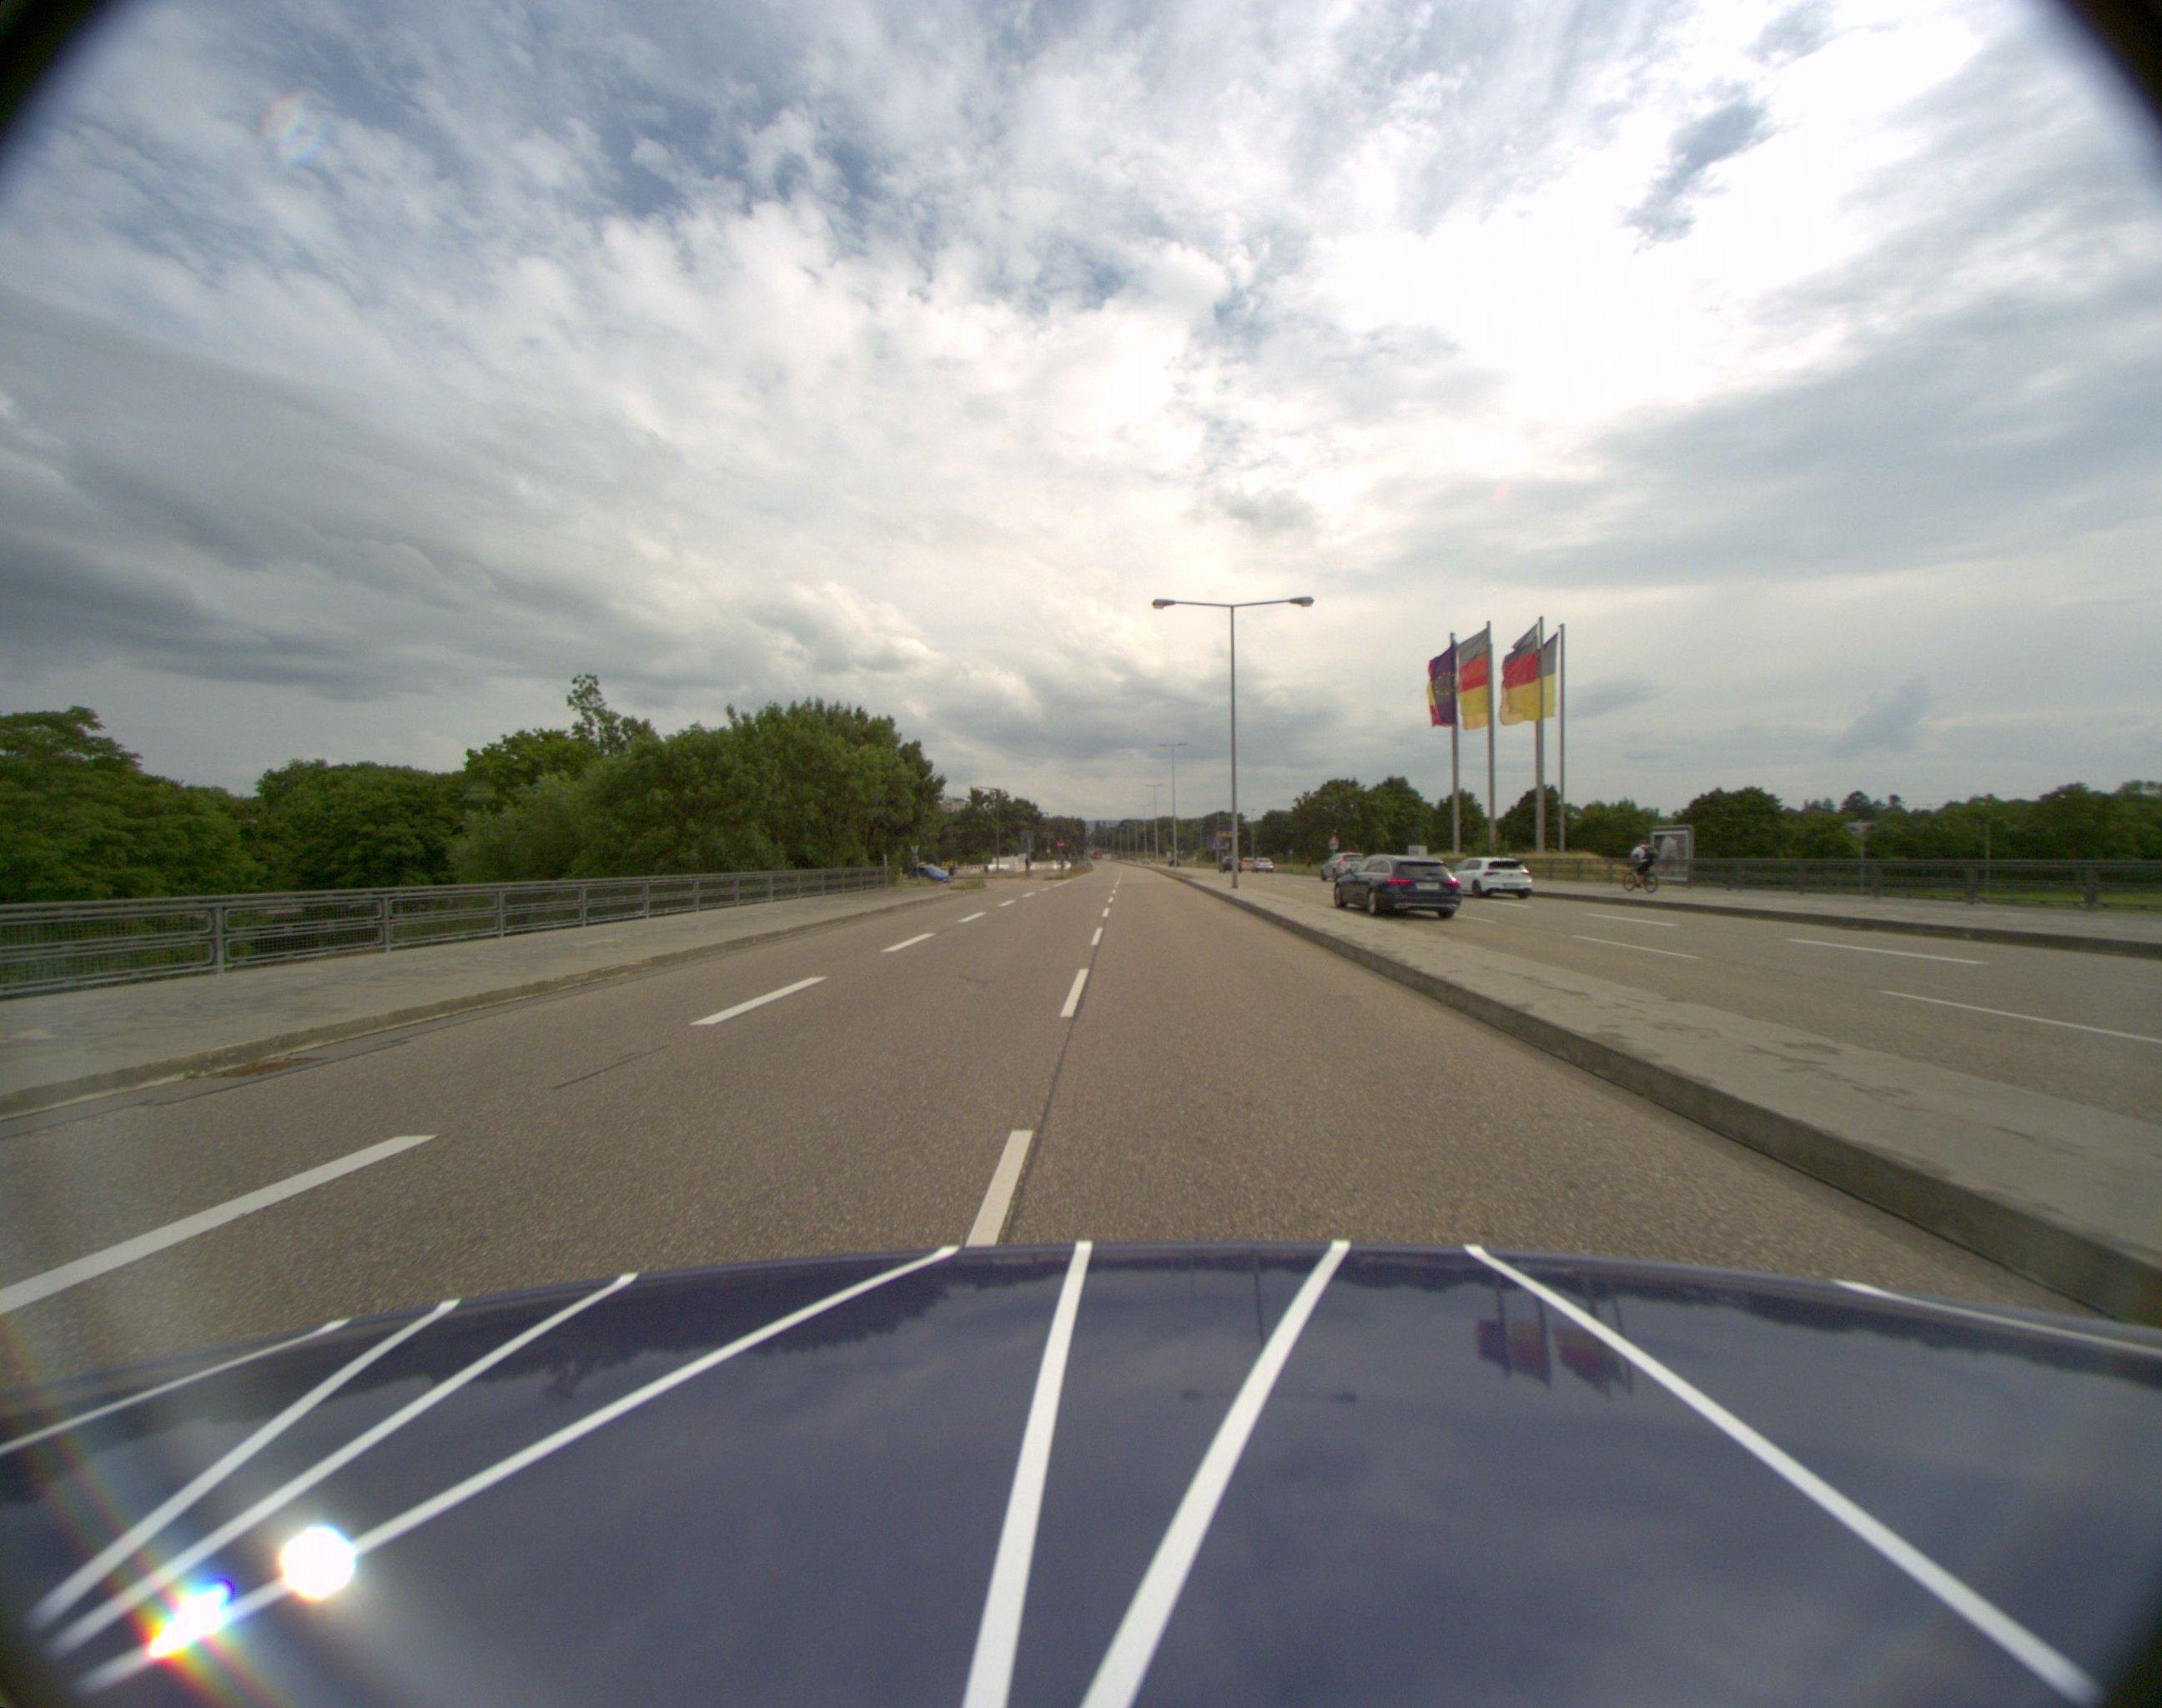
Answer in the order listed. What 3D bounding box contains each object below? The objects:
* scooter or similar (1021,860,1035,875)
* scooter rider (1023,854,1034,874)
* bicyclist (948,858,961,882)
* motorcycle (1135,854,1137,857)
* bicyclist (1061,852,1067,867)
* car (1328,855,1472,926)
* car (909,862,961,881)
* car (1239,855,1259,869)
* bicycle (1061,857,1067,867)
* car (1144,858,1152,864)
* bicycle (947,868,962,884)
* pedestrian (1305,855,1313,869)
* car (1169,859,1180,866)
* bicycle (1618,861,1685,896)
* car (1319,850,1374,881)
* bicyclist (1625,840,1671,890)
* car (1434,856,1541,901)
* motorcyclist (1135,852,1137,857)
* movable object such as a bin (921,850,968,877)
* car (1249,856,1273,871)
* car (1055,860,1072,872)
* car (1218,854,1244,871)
[{"bbox_3d":[-4.601,1.175,66.095,0.588,1.217,1.205,-2,1,28],"label":"scooter or similar"},{"bbox_3d":[-4.601,0.856,66.103,0.588,1.681,0.745,-2,1,28],"label":"scooter rider"},{"bbox_3d":[-8.706,1.118,52.342,0.666,1.649,0.806,-2,-2,3],"label":"bicyclist"},{"bbox_3d":[17.909,0.440,247.850,0.524,0.961,2.220,-1,0,2],"label":"motorcycle"},{"bbox_3d":[-1.973,0.611,87.252,0.653,1.648,0.876,-2,1,1],"label":"bicyclist"},{"bbox_3d":[7.619,0.785,18.705,1.742,1.472,4.777,1,0,3],"label":"car"},{"bbox_3d":[-12.545,1.528,65.259,3.990,1.509,1.883,-2,1,28],"label":"car"},{"bbox_3d":[19.324,0.916,87.430,1.552,1.568,3.691,1,0,3],"label":"car"},{"bbox_3d":[-1.969,0.963,87.111,0.575,1.141,1.982,0,0,0],"label":"bicycle"},{"bbox_3d":[18.601,1.870,211.836,1.851,1.592,4.562,0,0,2],"label":"car"},{"bbox_3d":[-8.695,1.537,52.340,0.578,1.015,1.977,2,-2,3],"label":"bicycle"},{"bbox_3d":[27.721,0.949,92.441,0.866,1.683,0.680,0,0,24],"label":"pedestrian"},{"bbox_3d":[17.255,1.563,140.922,1.767,1.432,4.178,1,0,3],"label":"car"},{"bbox_3d":[19.060,0.798,25.456,0.708,1.043,2.060,-2,1,1],"label":"bicycle"},{"bbox_3d":[15.622,0.656,44.976,1.867,1.715,4.771,1,0,4],"label":"car"},{"bbox_3d":[19.043,0.351,25.529,0.797,1.617,0.976,-2,1,1],"label":"bicyclist"},{"bbox_3d":[14.911,0.847,28.165,1.742,1.472,4.472,1,0,3],"label":"car"},{"bbox_3d":[17.911,0.038,247.933,0.772,1.579,0.896,0,0,1],"label":"motorcyclist"},{"bbox_3d":[-14.642,1.039,81.615,4.510,2.674,2.103,-2,1,8],"label":"movable object such as a bin"},{"bbox_3d":[18.037,0.955,76.212,1.653,1.506,4.017,1,0,4],"label":"car"},{"bbox_3d":[-2.607,1.782,113.423,1.850,1.493,4.003,-4,0,9],"label":"car"},{"bbox_3d":[14.525,0.807,73.742,1.744,1.507,4.316,1,0,1],"label":"car"}]
